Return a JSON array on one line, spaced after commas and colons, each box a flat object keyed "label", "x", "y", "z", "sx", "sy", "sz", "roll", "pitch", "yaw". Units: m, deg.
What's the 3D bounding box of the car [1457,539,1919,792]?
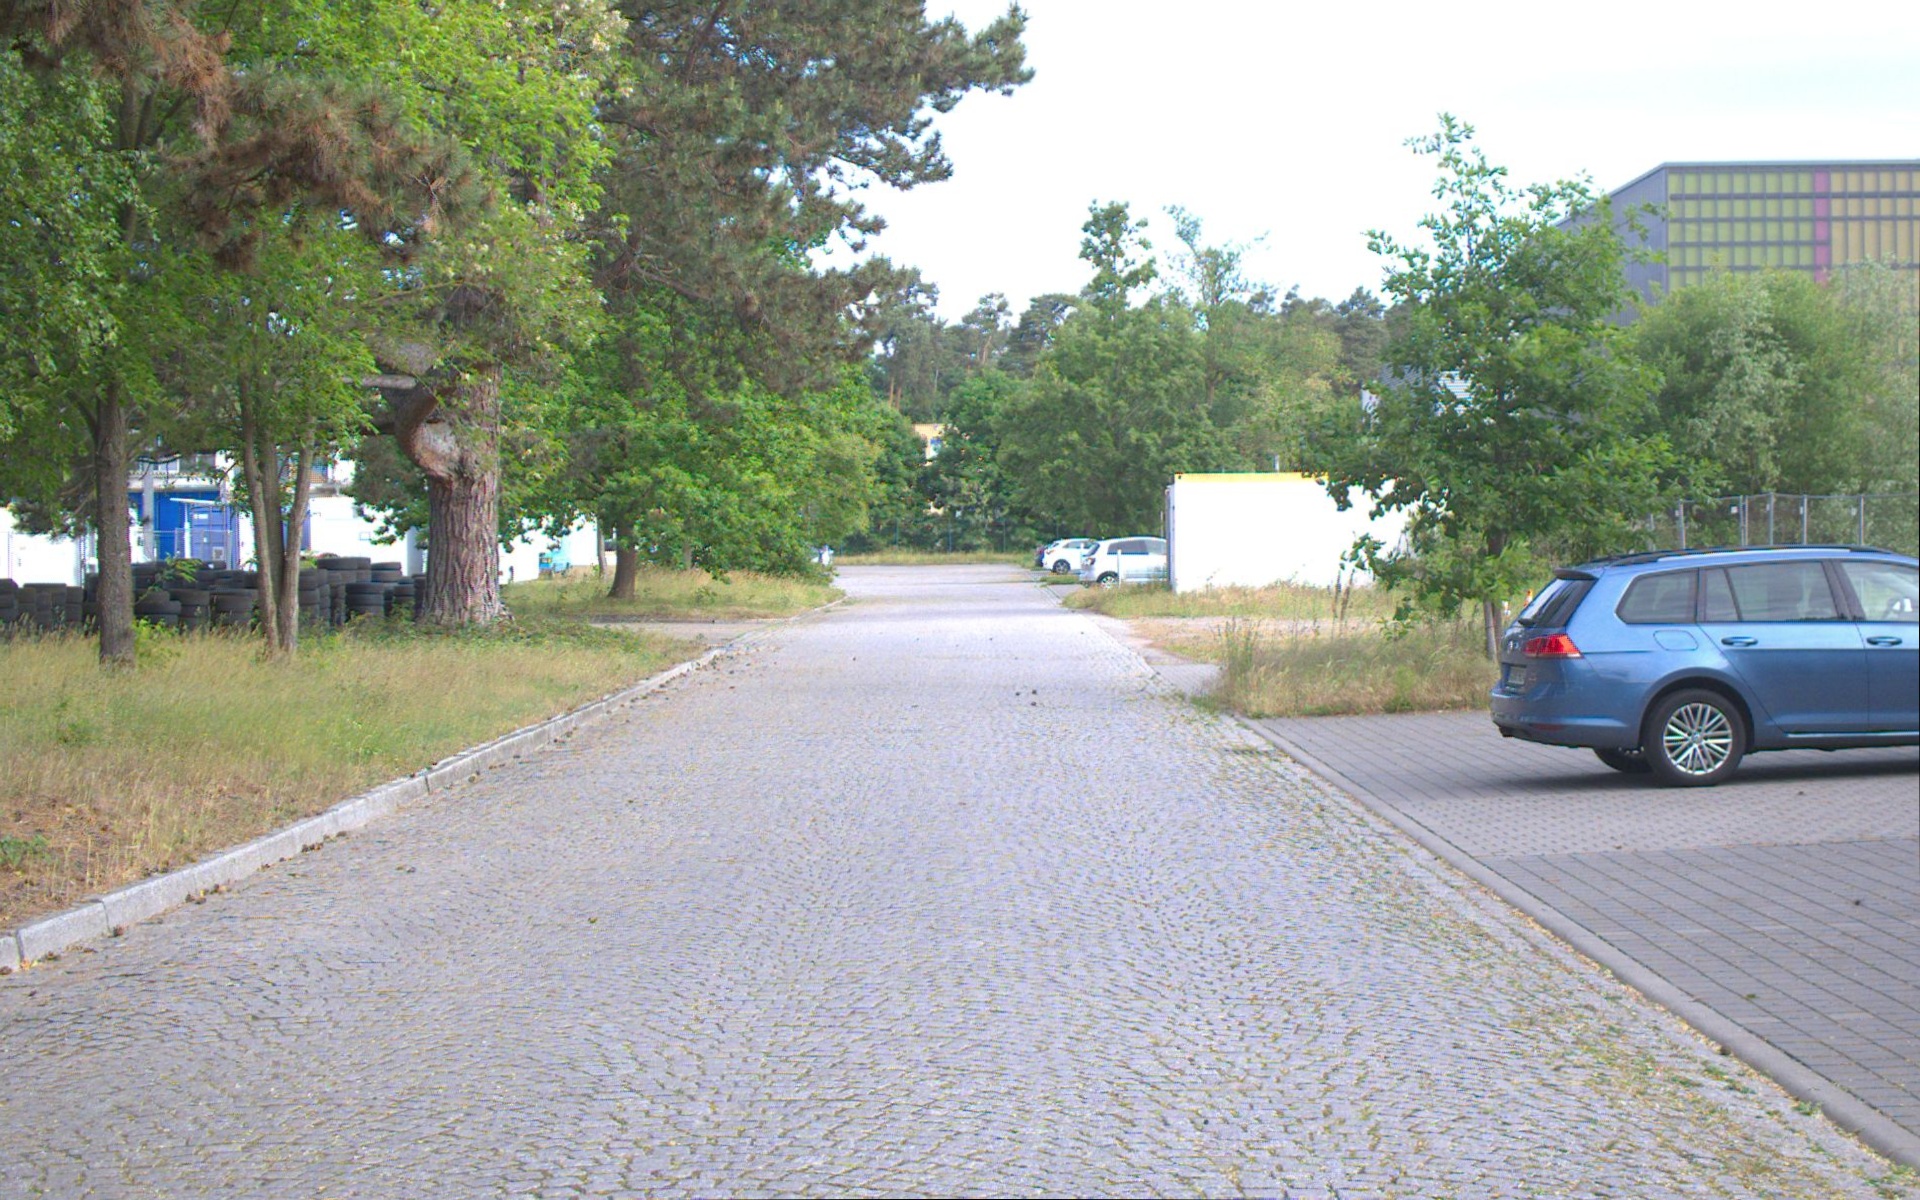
[{"label": "car", "x": 5.684, "y": 0.365, "z": 22.397, "sx": 4.521, "sy": 1.438, "sz": 1.824, "roll": -2, "pitch": 1, "yaw": -3}]

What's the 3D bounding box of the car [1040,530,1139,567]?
[{"label": "car", "x": 5.335, "y": -2.139, "z": 142.052, "sx": 4.025, "sy": 1.496, "sz": 1.548, "roll": 0, "pitch": 1, "yaw": 1}]

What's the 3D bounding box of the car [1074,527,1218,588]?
[{"label": "car", "x": 5.168, "y": -1.192, "z": 95.906, "sx": 3.849, "sy": 1.649, "sz": 1.686, "roll": -1, "pitch": 1, "yaw": -2}]

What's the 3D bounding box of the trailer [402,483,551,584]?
[{"label": "trailer", "x": -15.191, "y": -2.119, "z": 108.710, "sx": 3.159, "sy": 3.057, "sz": 8.784, "roll": 0, "pitch": 1, "yaw": 2}]
